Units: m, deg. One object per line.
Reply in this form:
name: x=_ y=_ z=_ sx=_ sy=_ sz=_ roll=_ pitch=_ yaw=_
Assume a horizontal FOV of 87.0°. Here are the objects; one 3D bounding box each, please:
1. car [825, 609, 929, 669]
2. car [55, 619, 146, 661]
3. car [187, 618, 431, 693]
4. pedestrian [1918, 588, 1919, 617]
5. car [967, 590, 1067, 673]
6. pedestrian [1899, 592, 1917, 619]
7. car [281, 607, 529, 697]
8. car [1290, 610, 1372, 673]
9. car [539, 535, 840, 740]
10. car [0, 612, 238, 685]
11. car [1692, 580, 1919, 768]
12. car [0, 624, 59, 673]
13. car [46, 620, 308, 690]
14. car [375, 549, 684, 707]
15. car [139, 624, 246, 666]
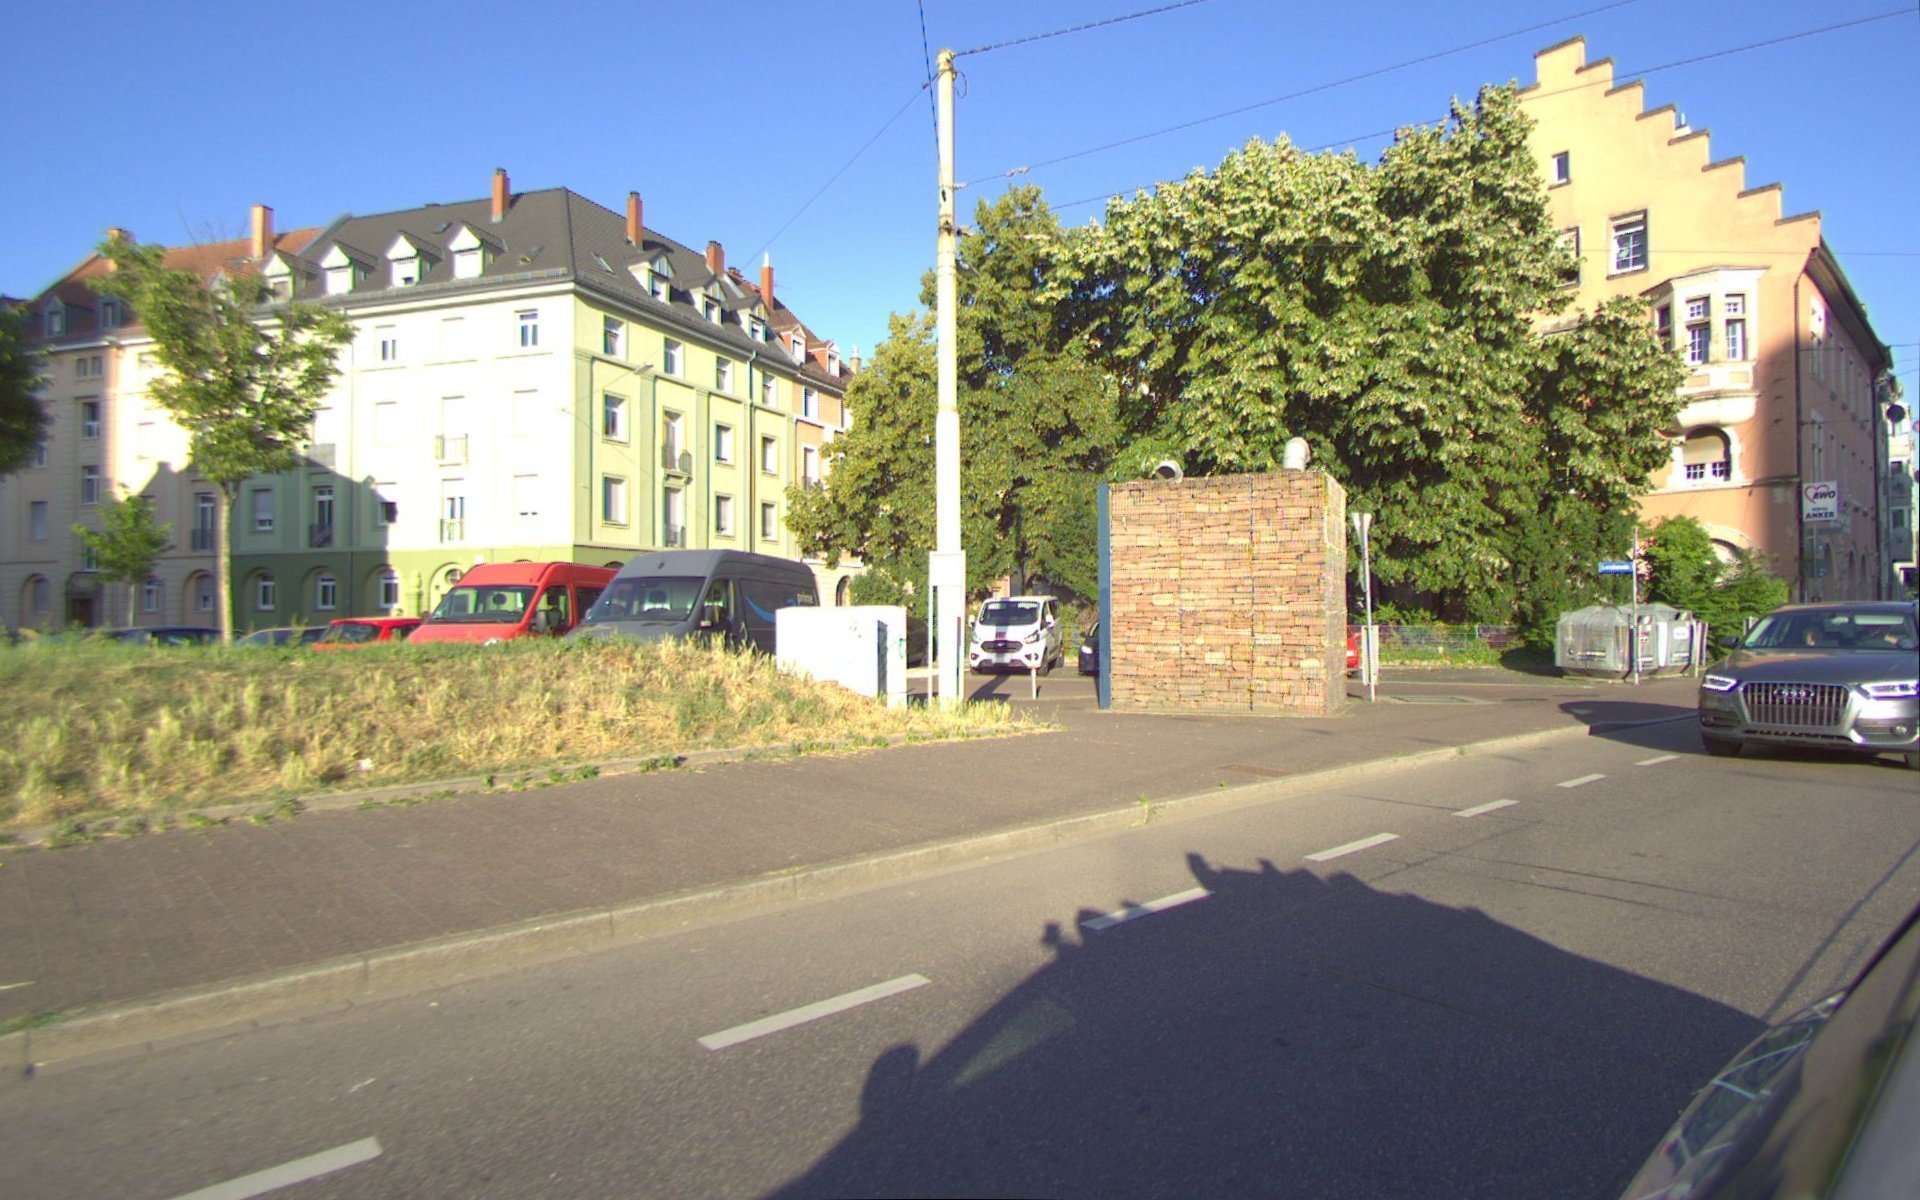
car: x=-2.217 y=1.045 z=28.213 sx=1.724 sy=1.485 sz=4.208 roll=-1 pitch=0 yaw=13
car: x=-32.600 y=1.510 z=38.396 sx=2.969 sy=1.534 sz=1.308 roll=-1 pitch=-1 yaw=18
car: x=-11.980 y=0.965 z=18.914 sx=1.681 sy=1.176 sz=3.690 roll=0 pitch=0 yaw=15
pedestrian: x=45.988 y=0.108 z=48.200 sx=0.514 sy=1.361 sz=0.600 roll=0 pitch=1 yaw=43
car: x=1.624 y=0.757 z=26.961 sx=1.897 sy=2.004 sz=4.730 roll=-1 pitch=0 yaw=13
pedestrian: x=45.156 y=0.253 z=48.196 sx=0.575 sy=1.267 sz=0.588 roll=0 pitch=-1 yaw=-43
car: x=-9.791 y=0.848 z=18.216 sx=1.753 sy=1.391 sz=3.872 roll=0 pitch=0 yaw=15
car: x=9.010 y=0.964 z=24.799 sx=1.608 sy=1.374 sz=3.428 roll=-1 pitch=0 yaw=16
car: x=-4.028 y=0.490 z=16.597 sx=2.013 sy=2.700 sz=6.187 roll=0 pitch=0 yaw=14
car: x=-17.055 y=0.915 z=20.555 sx=1.681 sy=1.274 sz=3.690 roll=0 pitch=0 yaw=15
car: x=9.357 y=0.656 z=10.495 sx=3.993 sy=1.608 sz=1.770 roll=0 pitch=-2 yaw=-38
car: x=-29.338 y=1.460 z=30.629 sx=3.589 sy=1.403 sz=1.547 roll=-1 pitch=0 yaw=18
car: x=-14.555 y=0.963 z=19.074 sx=1.681 sy=1.103 sz=3.690 roll=0 pitch=0 yaw=15
car: x=-6.990 y=0.394 z=17.279 sx=2.013 sy=2.242 sz=5.390 roll=0 pitch=0 yaw=14
car: x=-27.915 y=1.635 z=36.820 sx=3.582 sy=1.437 sz=1.308 roll=-1 pitch=-1 yaw=18
